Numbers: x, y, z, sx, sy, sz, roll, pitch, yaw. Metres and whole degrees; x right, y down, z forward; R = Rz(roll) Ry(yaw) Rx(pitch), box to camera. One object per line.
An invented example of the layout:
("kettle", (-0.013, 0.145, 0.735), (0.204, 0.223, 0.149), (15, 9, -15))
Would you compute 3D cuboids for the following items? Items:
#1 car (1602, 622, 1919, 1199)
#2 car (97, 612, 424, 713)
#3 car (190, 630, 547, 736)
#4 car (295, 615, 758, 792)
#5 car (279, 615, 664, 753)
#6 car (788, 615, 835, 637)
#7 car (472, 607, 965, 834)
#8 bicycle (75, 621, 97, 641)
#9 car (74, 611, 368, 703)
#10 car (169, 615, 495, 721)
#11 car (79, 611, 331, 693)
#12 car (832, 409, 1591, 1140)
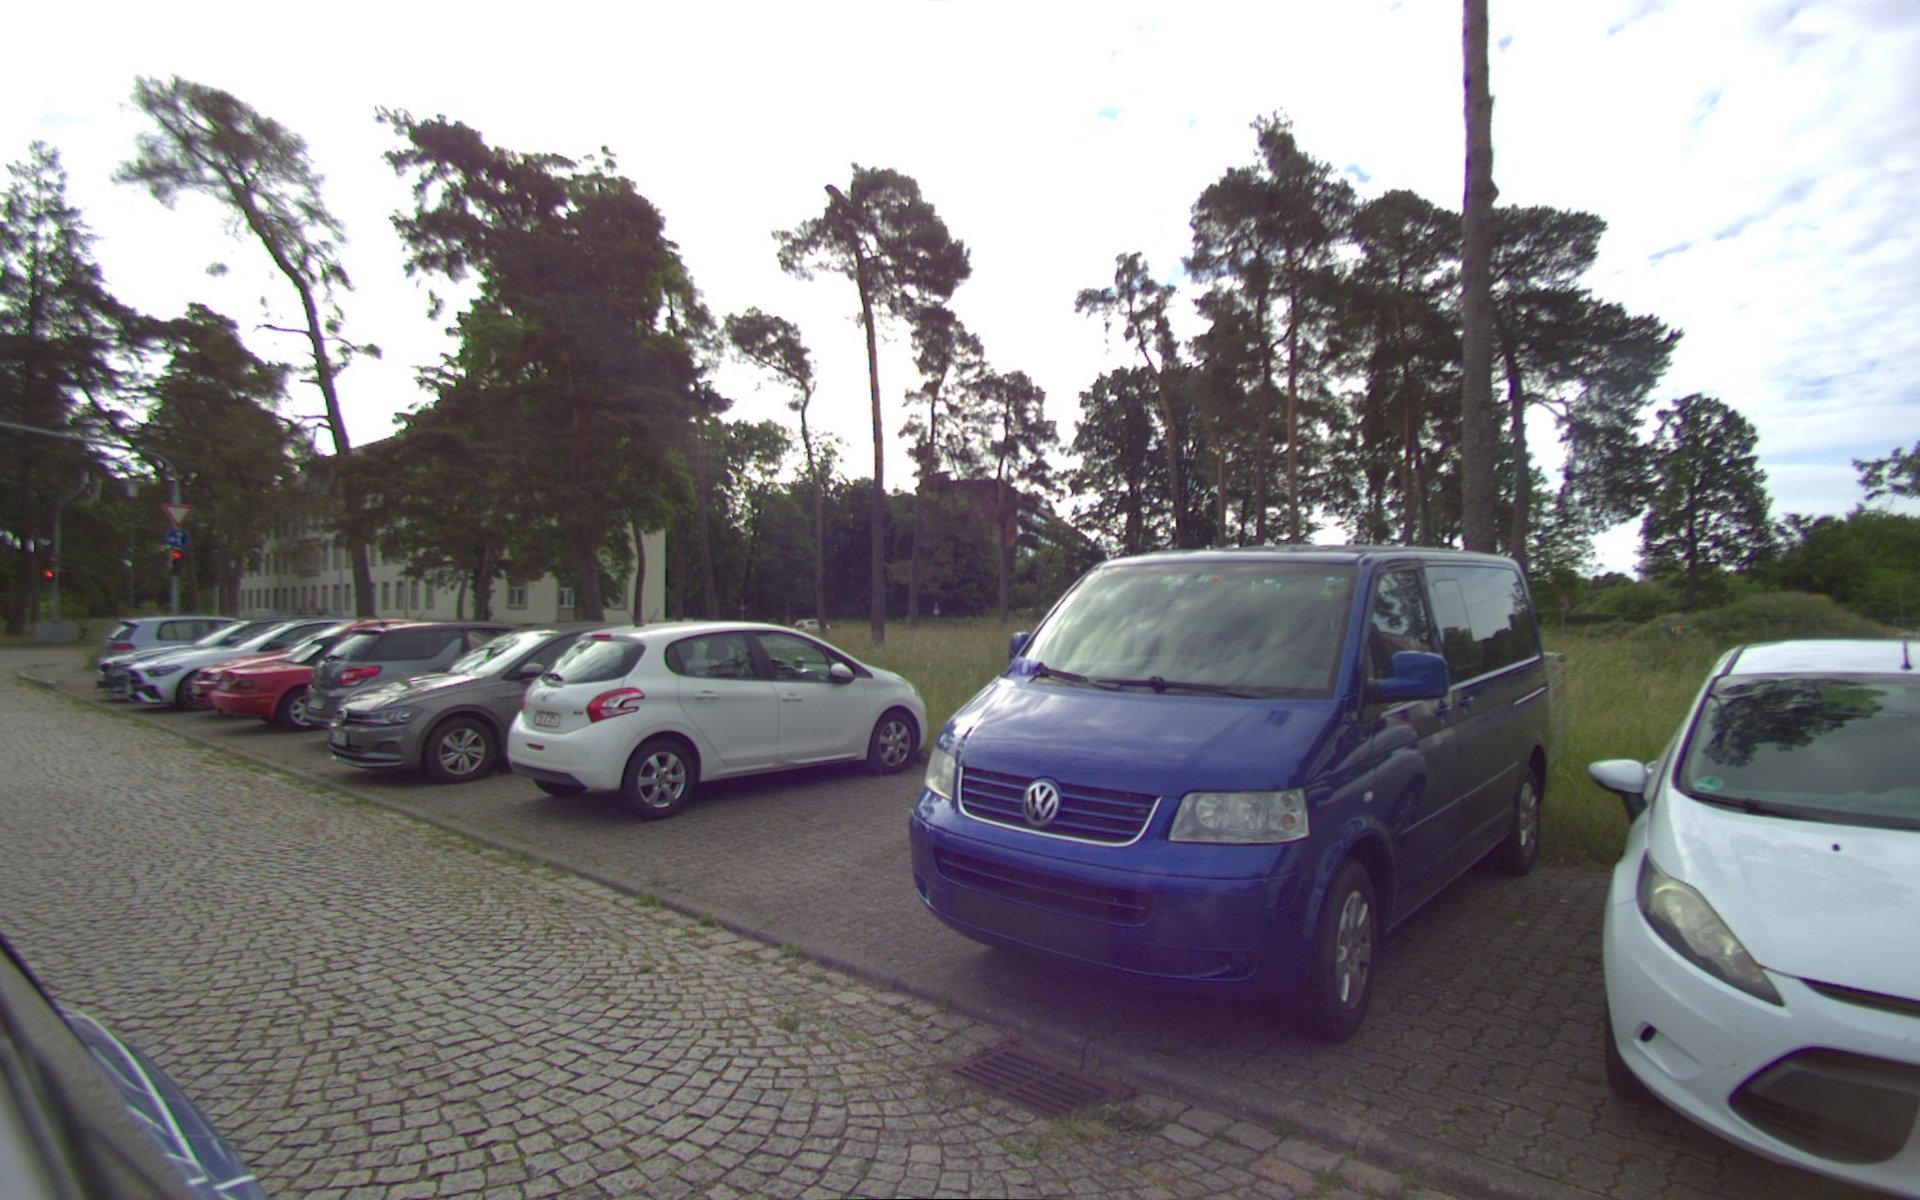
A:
("car", (3.679, 0.847, 3.714), (1.779, 1.522, 4.125), (-1, -2, 39))
("car", (-12.007, 0.998, 17.627), (1.934, 1.519, 4.331), (-1, -2, 39))
("car", (-8.403, 1.085, 14.656), (1.831, 1.276, 4.121), (-1, -2, 42))
("car", (-4.401, 0.929, 10.755), (1.864, 1.503, 4.121), (-1, -2, 43))
("car", (-6.180, 0.960, 13.171), (1.845, 1.493, 4.121), (-1, -2, 42))
("car", (-13.032, 2.271, 88.925), (1.722, 1.820, 3.942), (-1, -2, 44))
("car", (-1.986, 0.876, 9.208), (1.845, 1.508, 4.024), (-2, 0, 42))
("bicycle", (-41.090, 1.471, 47.565), (1.046, 0.923, 0.291), (0, -1, 20))
("car", (-14.050, 1.011, 19.458), (1.933, 1.560, 4.210), (-1, -2, 37))
("car", (-10.021, 0.997, 16.412), (1.863, 1.488, 4.123), (-1, -2, 40))
("car", (-15.866, 1.042, 21.418), (1.904, 1.555, 3.946), (-1, -2, 40))
("car", (1.777, 0.559, 5.477), (2.114, 2.138, 4.733), (-1, -2, 40))
